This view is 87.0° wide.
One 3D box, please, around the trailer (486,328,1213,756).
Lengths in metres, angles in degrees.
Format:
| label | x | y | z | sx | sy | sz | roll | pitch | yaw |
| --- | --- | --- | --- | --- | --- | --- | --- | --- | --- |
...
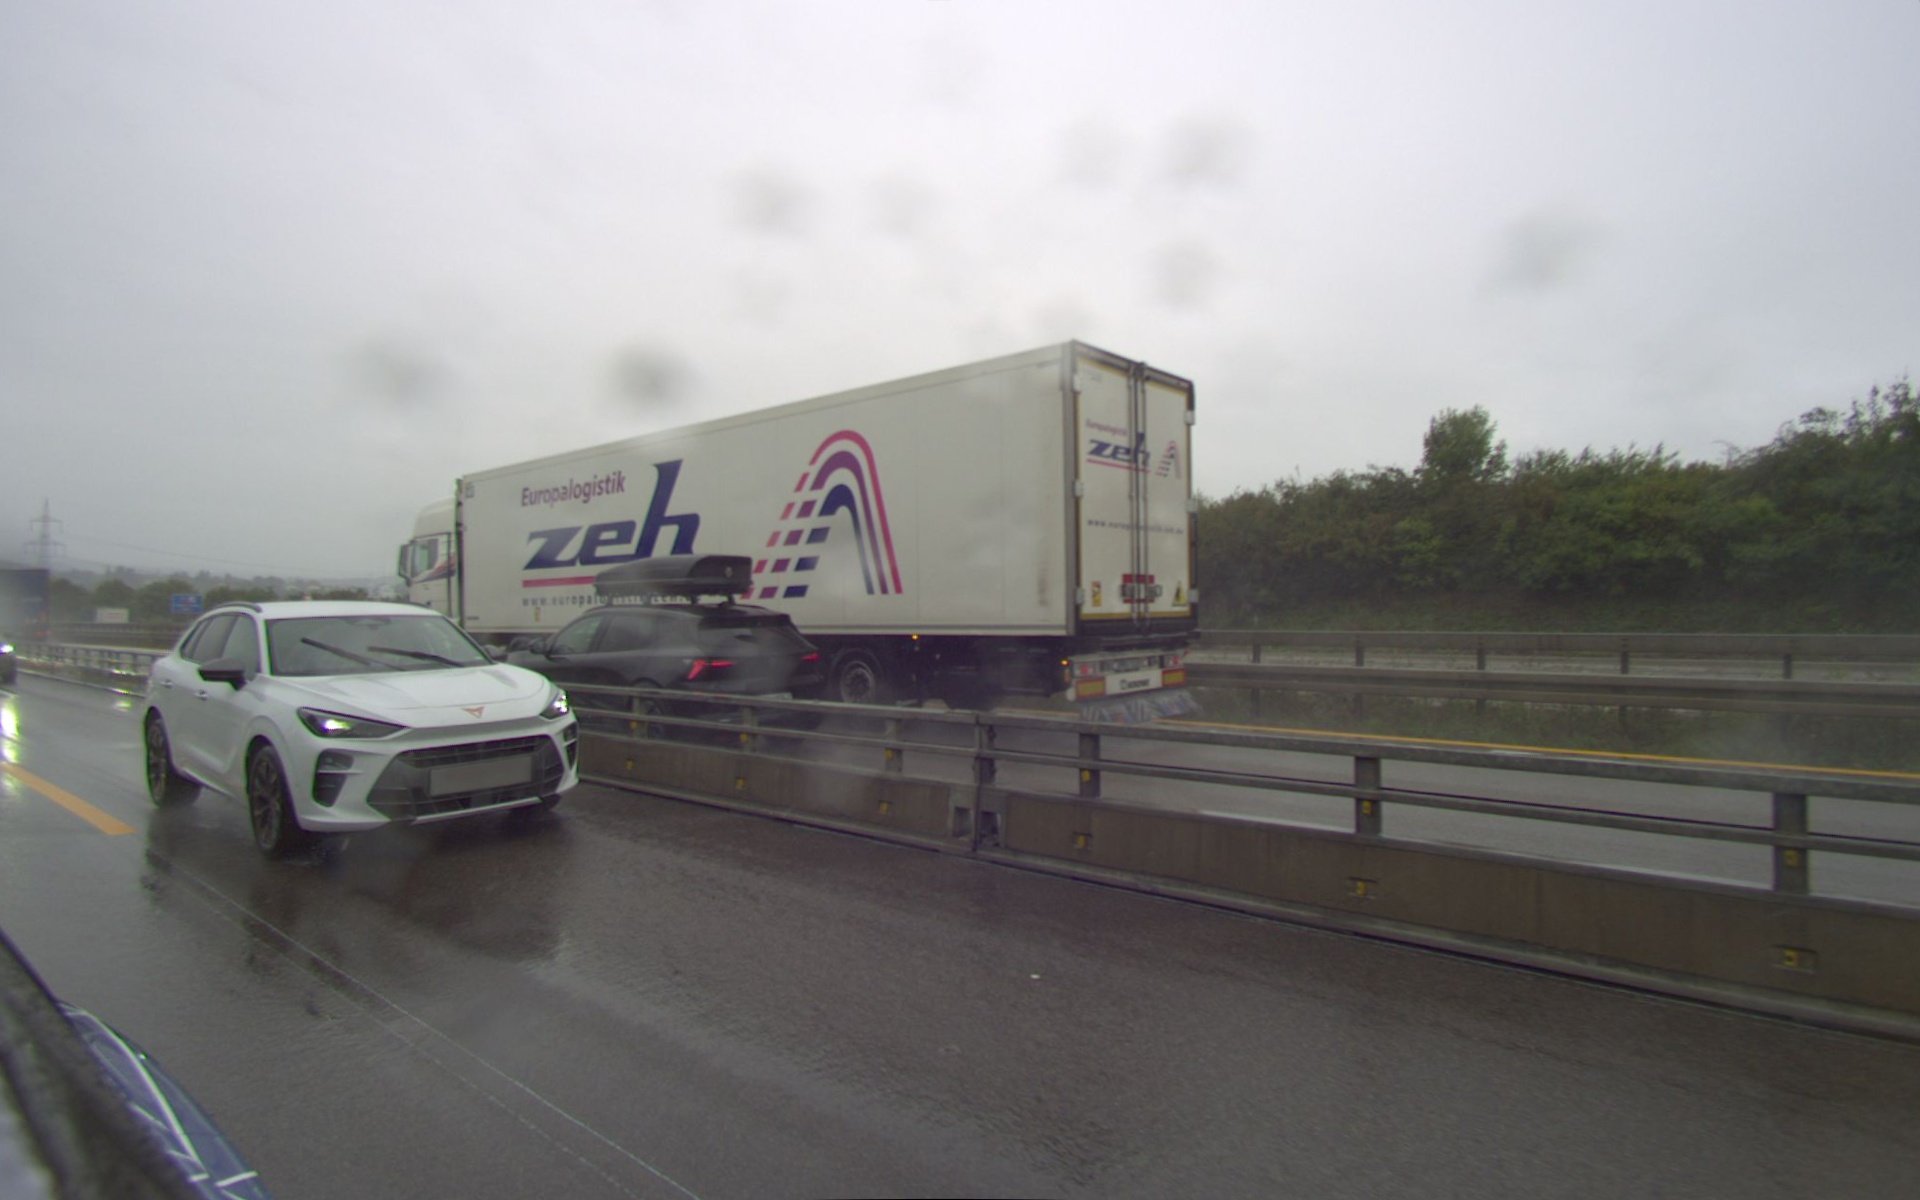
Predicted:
| label | x | y | z | sx | sy | sz | roll | pitch | yaw |
| --- | --- | --- | --- | --- | --- | --- | --- | --- | --- |
| trailer | -2.722 | -0.454 | 14.659 | 12.576 | 4.080 | 2.469 | -1 | -1 | 40 |

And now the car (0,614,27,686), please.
| label | x | y | z | sx | sy | sz | roll | pitch | yaw |
| --- | --- | --- | --- | --- | --- | --- | --- | --- | --- |
| car | -24.174 | 1.184 | 24.292 | 5.192 | 1.640 | 2.043 | -1 | -1 | 41 |

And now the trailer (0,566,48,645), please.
| label | x | y | z | sx | sy | sz | roll | pitch | yaw |
| --- | --- | --- | --- | --- | --- | --- | --- | --- | --- |
| trailer | -54.044 | 0.364 | 56.553 | 12.416 | 4.108 | 2.575 | -1 | 0 | 38 |

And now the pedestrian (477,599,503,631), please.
| label | x | y | z | sx | sy | sz | roll | pitch | yaw |
| --- | --- | --- | --- | --- | --- | --- | --- | --- | --- |
| pedestrian | -30.975 | 1.000 | 66.662 | 1.124 | 2.029 | 1.095 | -1 | 0 | 36 |

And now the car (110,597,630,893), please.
| label | x | y | z | sx | sy | sz | roll | pitch | yaw |
| --- | --- | --- | --- | --- | --- | --- | --- | --- | --- |
| car | -4.739 | 0.808 | 7.730 | 5.003 | 1.562 | 1.908 | -1 | -1 | 41 |

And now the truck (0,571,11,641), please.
| label | x | y | z | sx | sy | sz | roll | pitch | yaw |
| --- | --- | --- | --- | --- | --- | --- | --- | --- | --- |
| truck | -59.554 | 0.420 | 60.925 | 6.660 | 4.113 | 2.598 | -2 | -1 | 39 |

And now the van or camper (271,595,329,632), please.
| label | x | y | z | sx | sy | sz | roll | pitch | yaw |
| --- | --- | --- | --- | --- | --- | --- | --- | --- | --- |
| van or camper | -81.074 | 1.668 | 124.206 | 8.494 | 4.356 | 3.335 | -1 | 1 | 38 |

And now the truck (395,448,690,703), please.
| label | x | y | z | sx | sy | sz | roll | pitch | yaw |
| --- | --- | --- | --- | --- | --- | --- | --- | --- | --- |
| truck | -8.078 | -0.334 | 19.162 | 6.443 | 4.061 | 2.458 | -2 | -1 | 40 |

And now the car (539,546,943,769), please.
| label | x | y | z | sx | sy | sz | roll | pitch | yaw |
| --- | --- | --- | --- | --- | --- | --- | --- | --- | --- |
| car | -2.489 | 0.559 | 10.830 | 4.430 | 1.899 | 1.973 | -2 | -2 | 41 |
